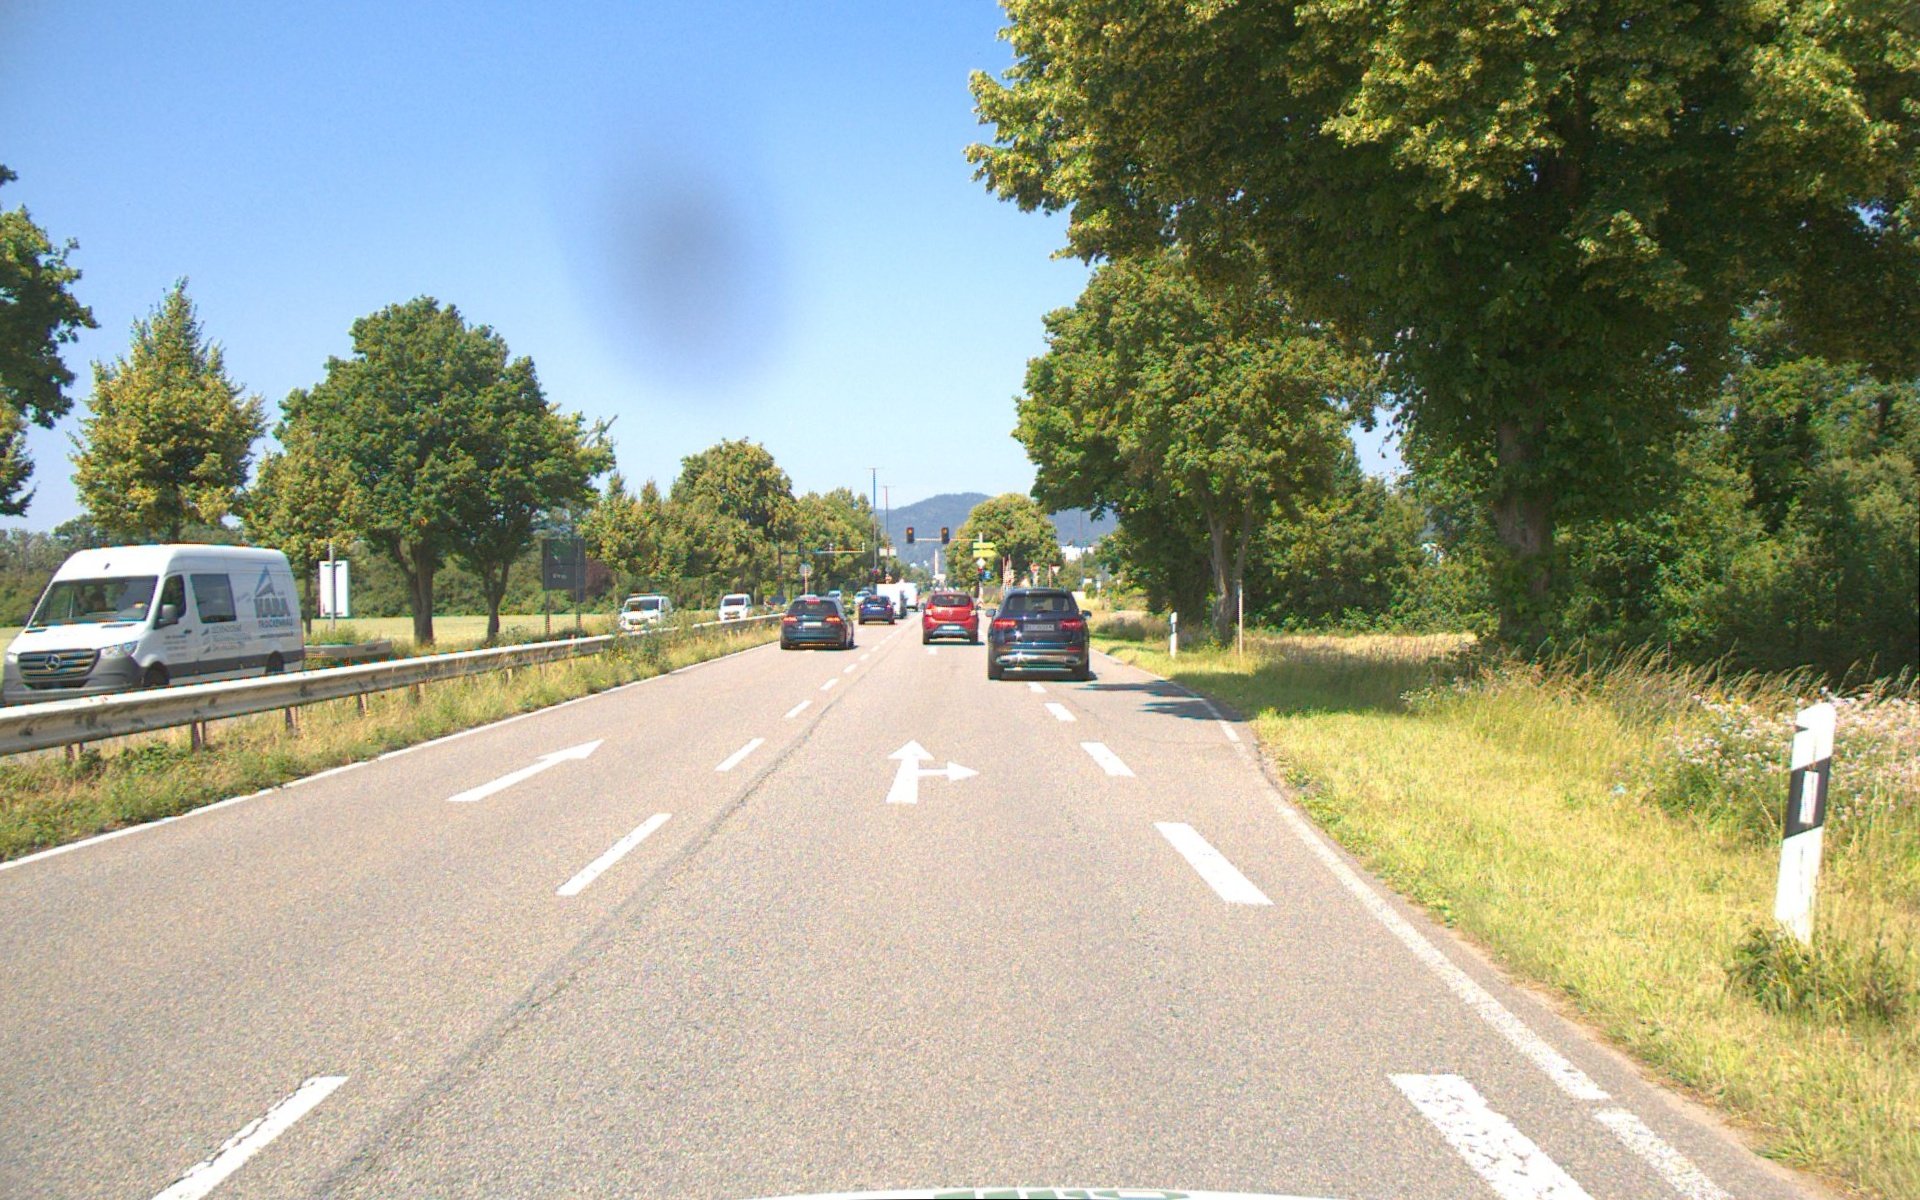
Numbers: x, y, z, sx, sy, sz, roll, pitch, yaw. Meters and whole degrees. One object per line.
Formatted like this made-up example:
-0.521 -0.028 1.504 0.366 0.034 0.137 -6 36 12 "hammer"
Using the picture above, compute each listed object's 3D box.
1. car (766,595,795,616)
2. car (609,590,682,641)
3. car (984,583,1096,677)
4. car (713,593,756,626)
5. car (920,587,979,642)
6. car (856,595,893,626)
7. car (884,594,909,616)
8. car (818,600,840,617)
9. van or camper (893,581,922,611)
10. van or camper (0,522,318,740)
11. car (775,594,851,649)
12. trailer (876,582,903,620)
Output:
-14.966 0.476 137.963 1.953 1.692 4.479 -1 0 -1 "car"
-13.317 0.626 70.229 1.995 2.049 4.534 -1 0 3 "car"
1.427 0.508 31.034 1.952 1.645 4.340 0 0 1 "car"
-14.340 0.595 105.501 1.952 1.995 4.927 -1 0 1 "car"
-0.293 0.424 50.549 1.713 1.603 3.677 0 0 1 "car"
-4.238 0.528 82.703 1.682 1.491 4.029 -1 0 -1 "car"
-4.775 0.372 124.762 1.689 1.628 3.955 -1 0 0 "car"
-13.290 0.836 167.920 1.953 1.691 4.479 -1 0 -1 "car"
-4.319 -0.350 136.281 2.134 2.343 4.827 -2 0 0 "van or camper"
-12.937 0.430 26.700 2.337 3.000 7.090 -2 0 0 "van or camper"
-3.996 0.556 45.426 1.705 1.404 4.454 1 0 0 "car"
-4.257 0.075 100.354 1.470 2.211 4.173 -1 0 -1 "trailer"
